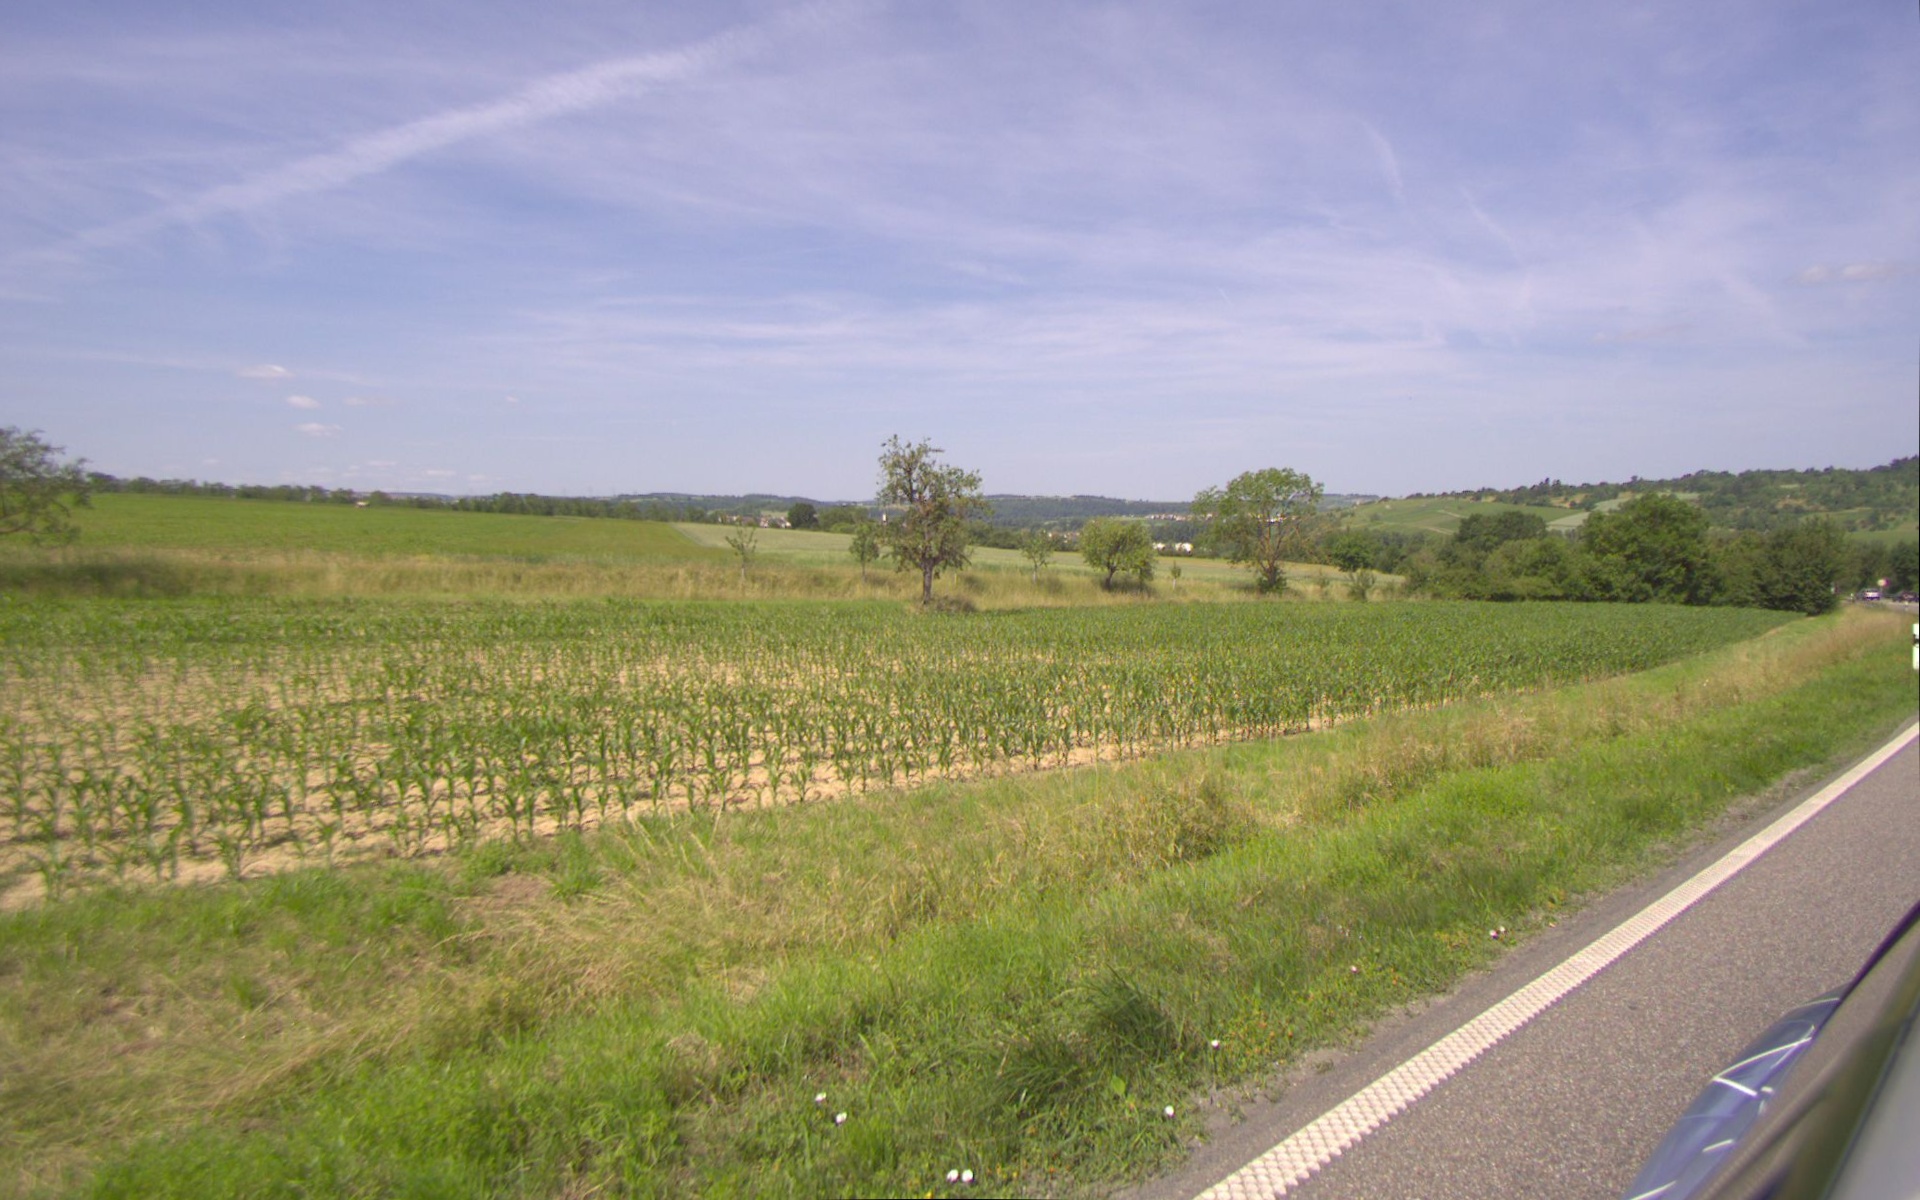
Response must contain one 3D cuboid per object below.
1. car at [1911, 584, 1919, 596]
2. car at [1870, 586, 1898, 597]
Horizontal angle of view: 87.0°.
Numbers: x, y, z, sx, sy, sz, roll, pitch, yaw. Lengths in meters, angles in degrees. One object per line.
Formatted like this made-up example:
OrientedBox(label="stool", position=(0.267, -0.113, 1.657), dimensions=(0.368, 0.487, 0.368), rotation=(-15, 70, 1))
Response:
OrientedBox(label="car", position=(121.563, -1.299, 127.518), dimensions=(1.710, 1.479, 4.169), rotation=(1, 1, 31))
OrientedBox(label="car", position=(130.027, -1.218, 142.462), dimensions=(1.803, 1.588, 4.636), rotation=(2, 2, 29))
